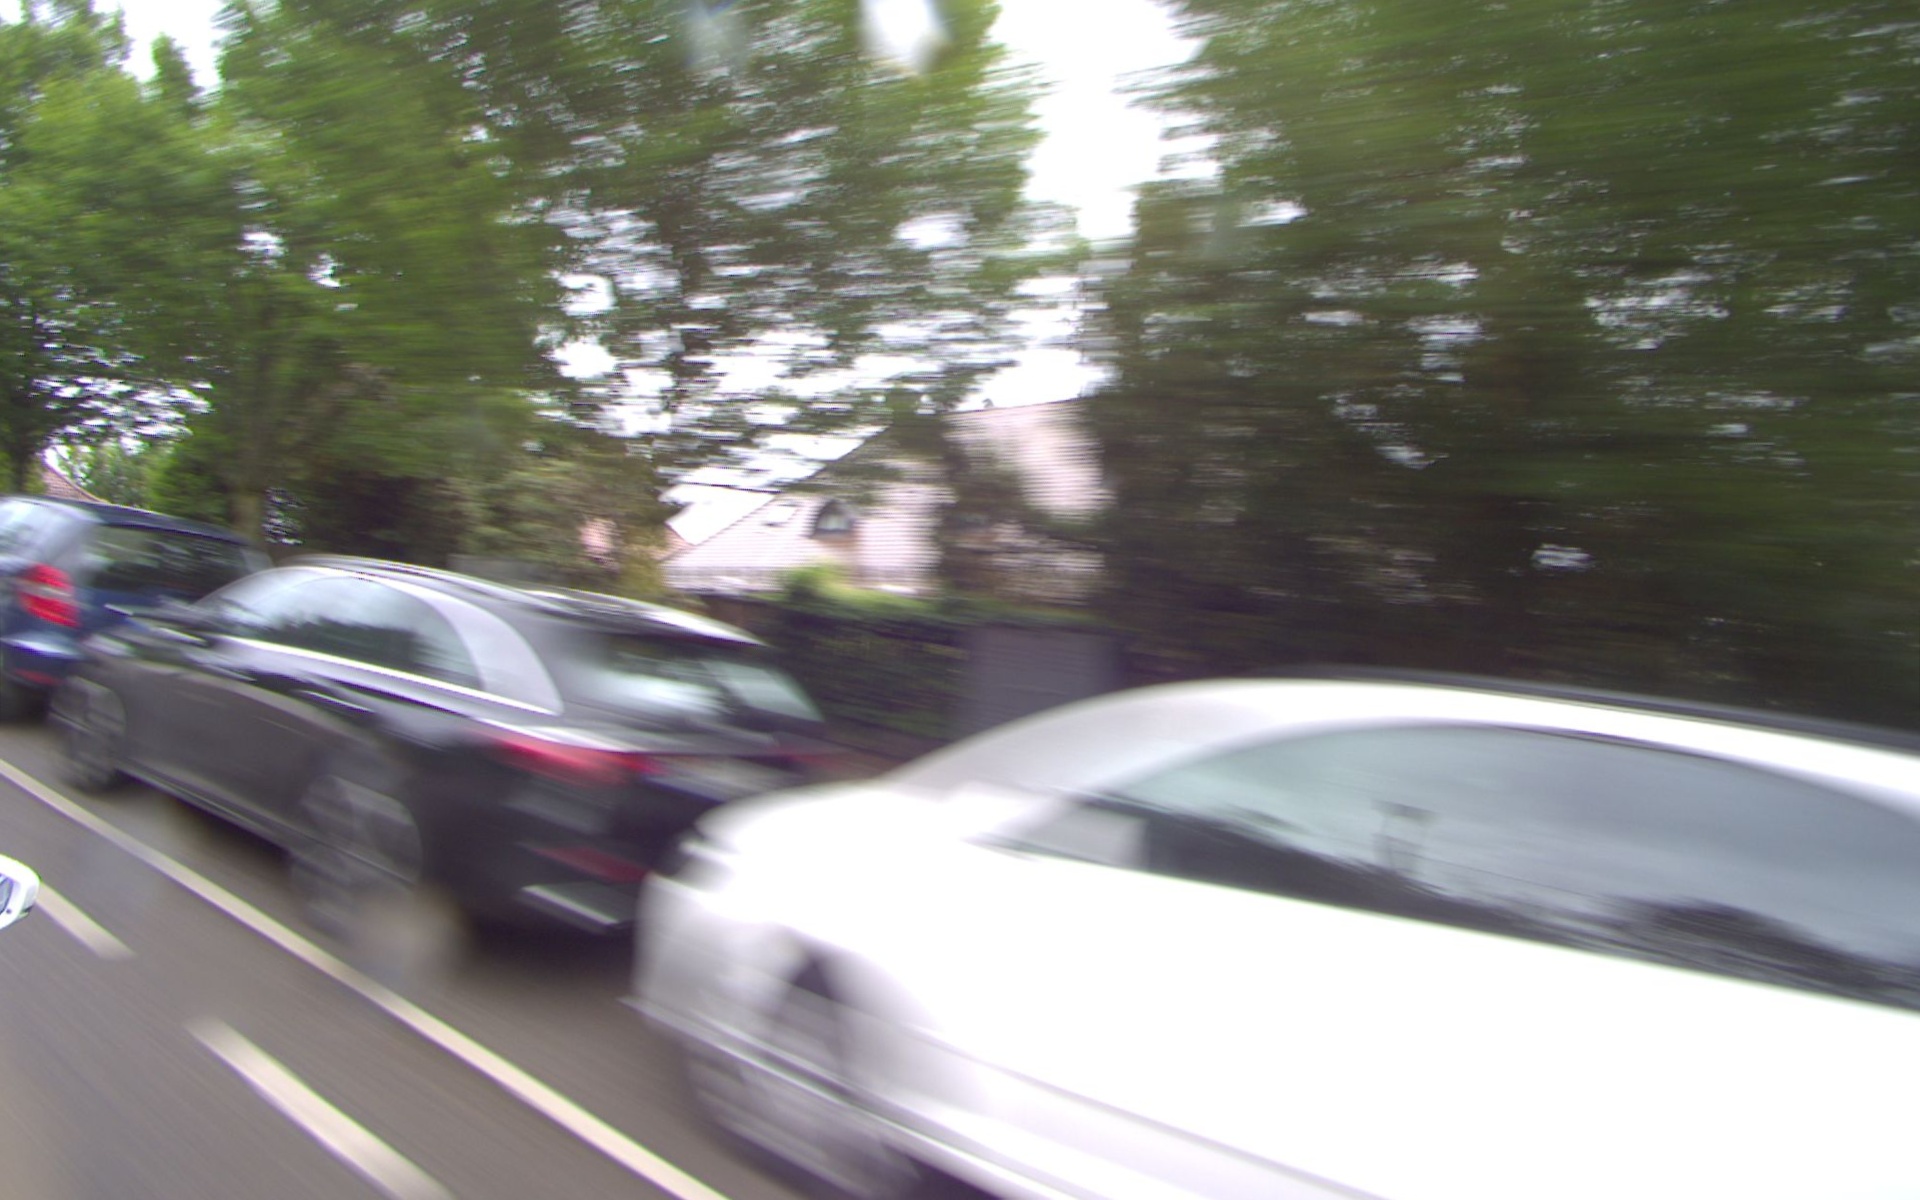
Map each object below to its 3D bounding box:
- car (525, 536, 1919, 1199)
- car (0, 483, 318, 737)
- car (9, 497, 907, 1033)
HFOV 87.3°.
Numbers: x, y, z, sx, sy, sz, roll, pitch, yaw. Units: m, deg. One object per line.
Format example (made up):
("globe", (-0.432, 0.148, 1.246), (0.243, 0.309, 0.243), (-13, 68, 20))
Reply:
("car", (0.956, 0.921, 2.930), (4.152, 1.627, 1.789), (7, -3, 30))
("car", (-7.179, -0.012, 8.184), (3.858, 1.588, 1.697), (7, -3, 33))
("car", (-2.882, 0.530, 5.402), (4.770, 1.554, 1.999), (7, -4, 33))
